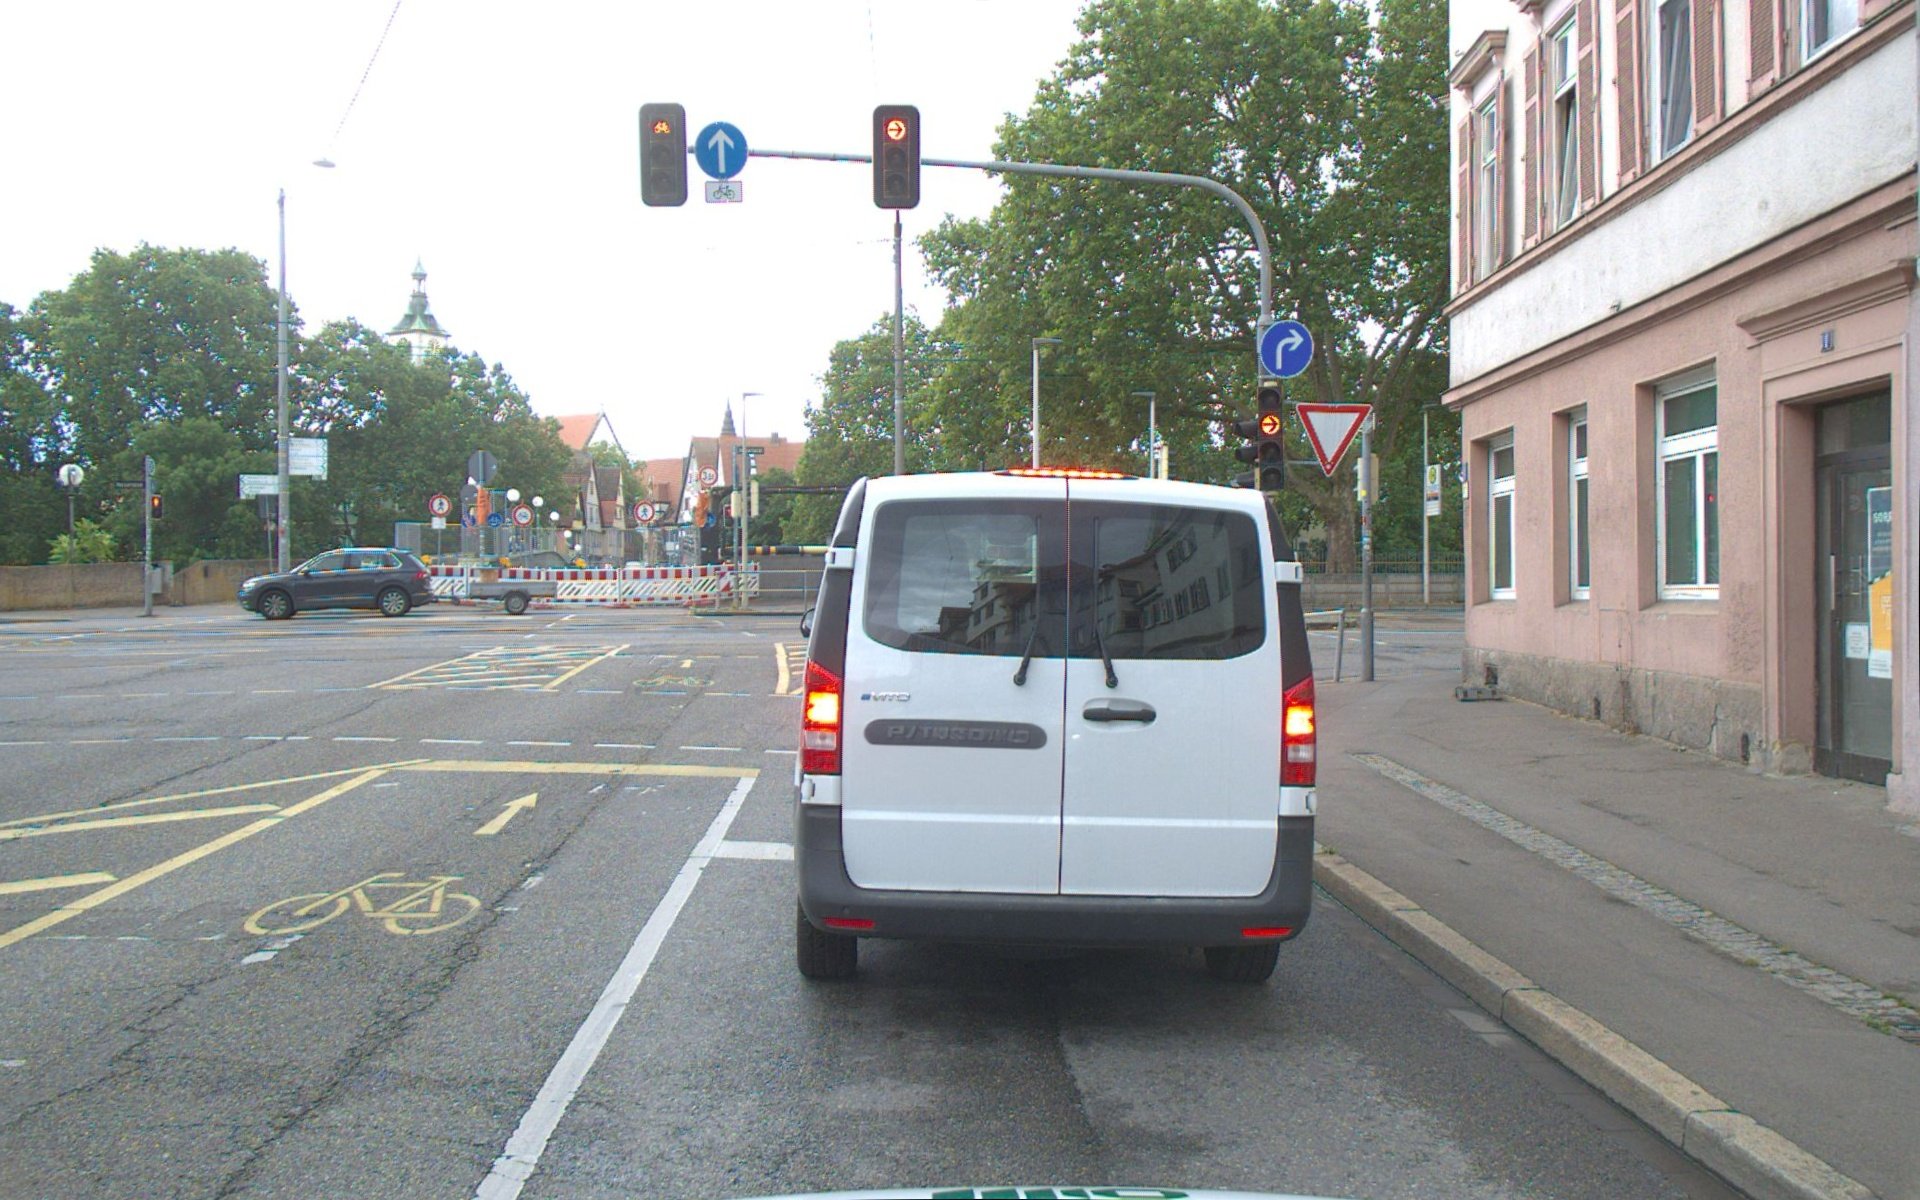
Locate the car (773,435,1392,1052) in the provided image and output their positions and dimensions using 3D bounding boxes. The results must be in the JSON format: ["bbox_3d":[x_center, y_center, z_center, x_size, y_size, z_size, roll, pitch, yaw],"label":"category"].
[{"bbox_3d":[0.327,0.394,7.401,1.953,1.956,4.248,1,2,-2],"label":"car"}]

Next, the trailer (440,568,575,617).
[{"bbox_3d":[-11.271,-0.185,41.199,3.150,1.178,1.991,0,0,-17],"label":"trailer"}]

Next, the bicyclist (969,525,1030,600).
[{"bbox_3d":[1.171,-1.108,48.976,1.538,2.194,1.243,0,0,-15],"label":"bicyclist"}]

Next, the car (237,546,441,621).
[{"bbox_3d":[-14.924,-0.412,40.035,4.448,1.663,1.990,-2,0,-18],"label":"car"}]

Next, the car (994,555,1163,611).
[{"bbox_3d":[3.160,-0.454,44.535,4.200,1.478,1.894,0,0,-12],"label":"car"}]
